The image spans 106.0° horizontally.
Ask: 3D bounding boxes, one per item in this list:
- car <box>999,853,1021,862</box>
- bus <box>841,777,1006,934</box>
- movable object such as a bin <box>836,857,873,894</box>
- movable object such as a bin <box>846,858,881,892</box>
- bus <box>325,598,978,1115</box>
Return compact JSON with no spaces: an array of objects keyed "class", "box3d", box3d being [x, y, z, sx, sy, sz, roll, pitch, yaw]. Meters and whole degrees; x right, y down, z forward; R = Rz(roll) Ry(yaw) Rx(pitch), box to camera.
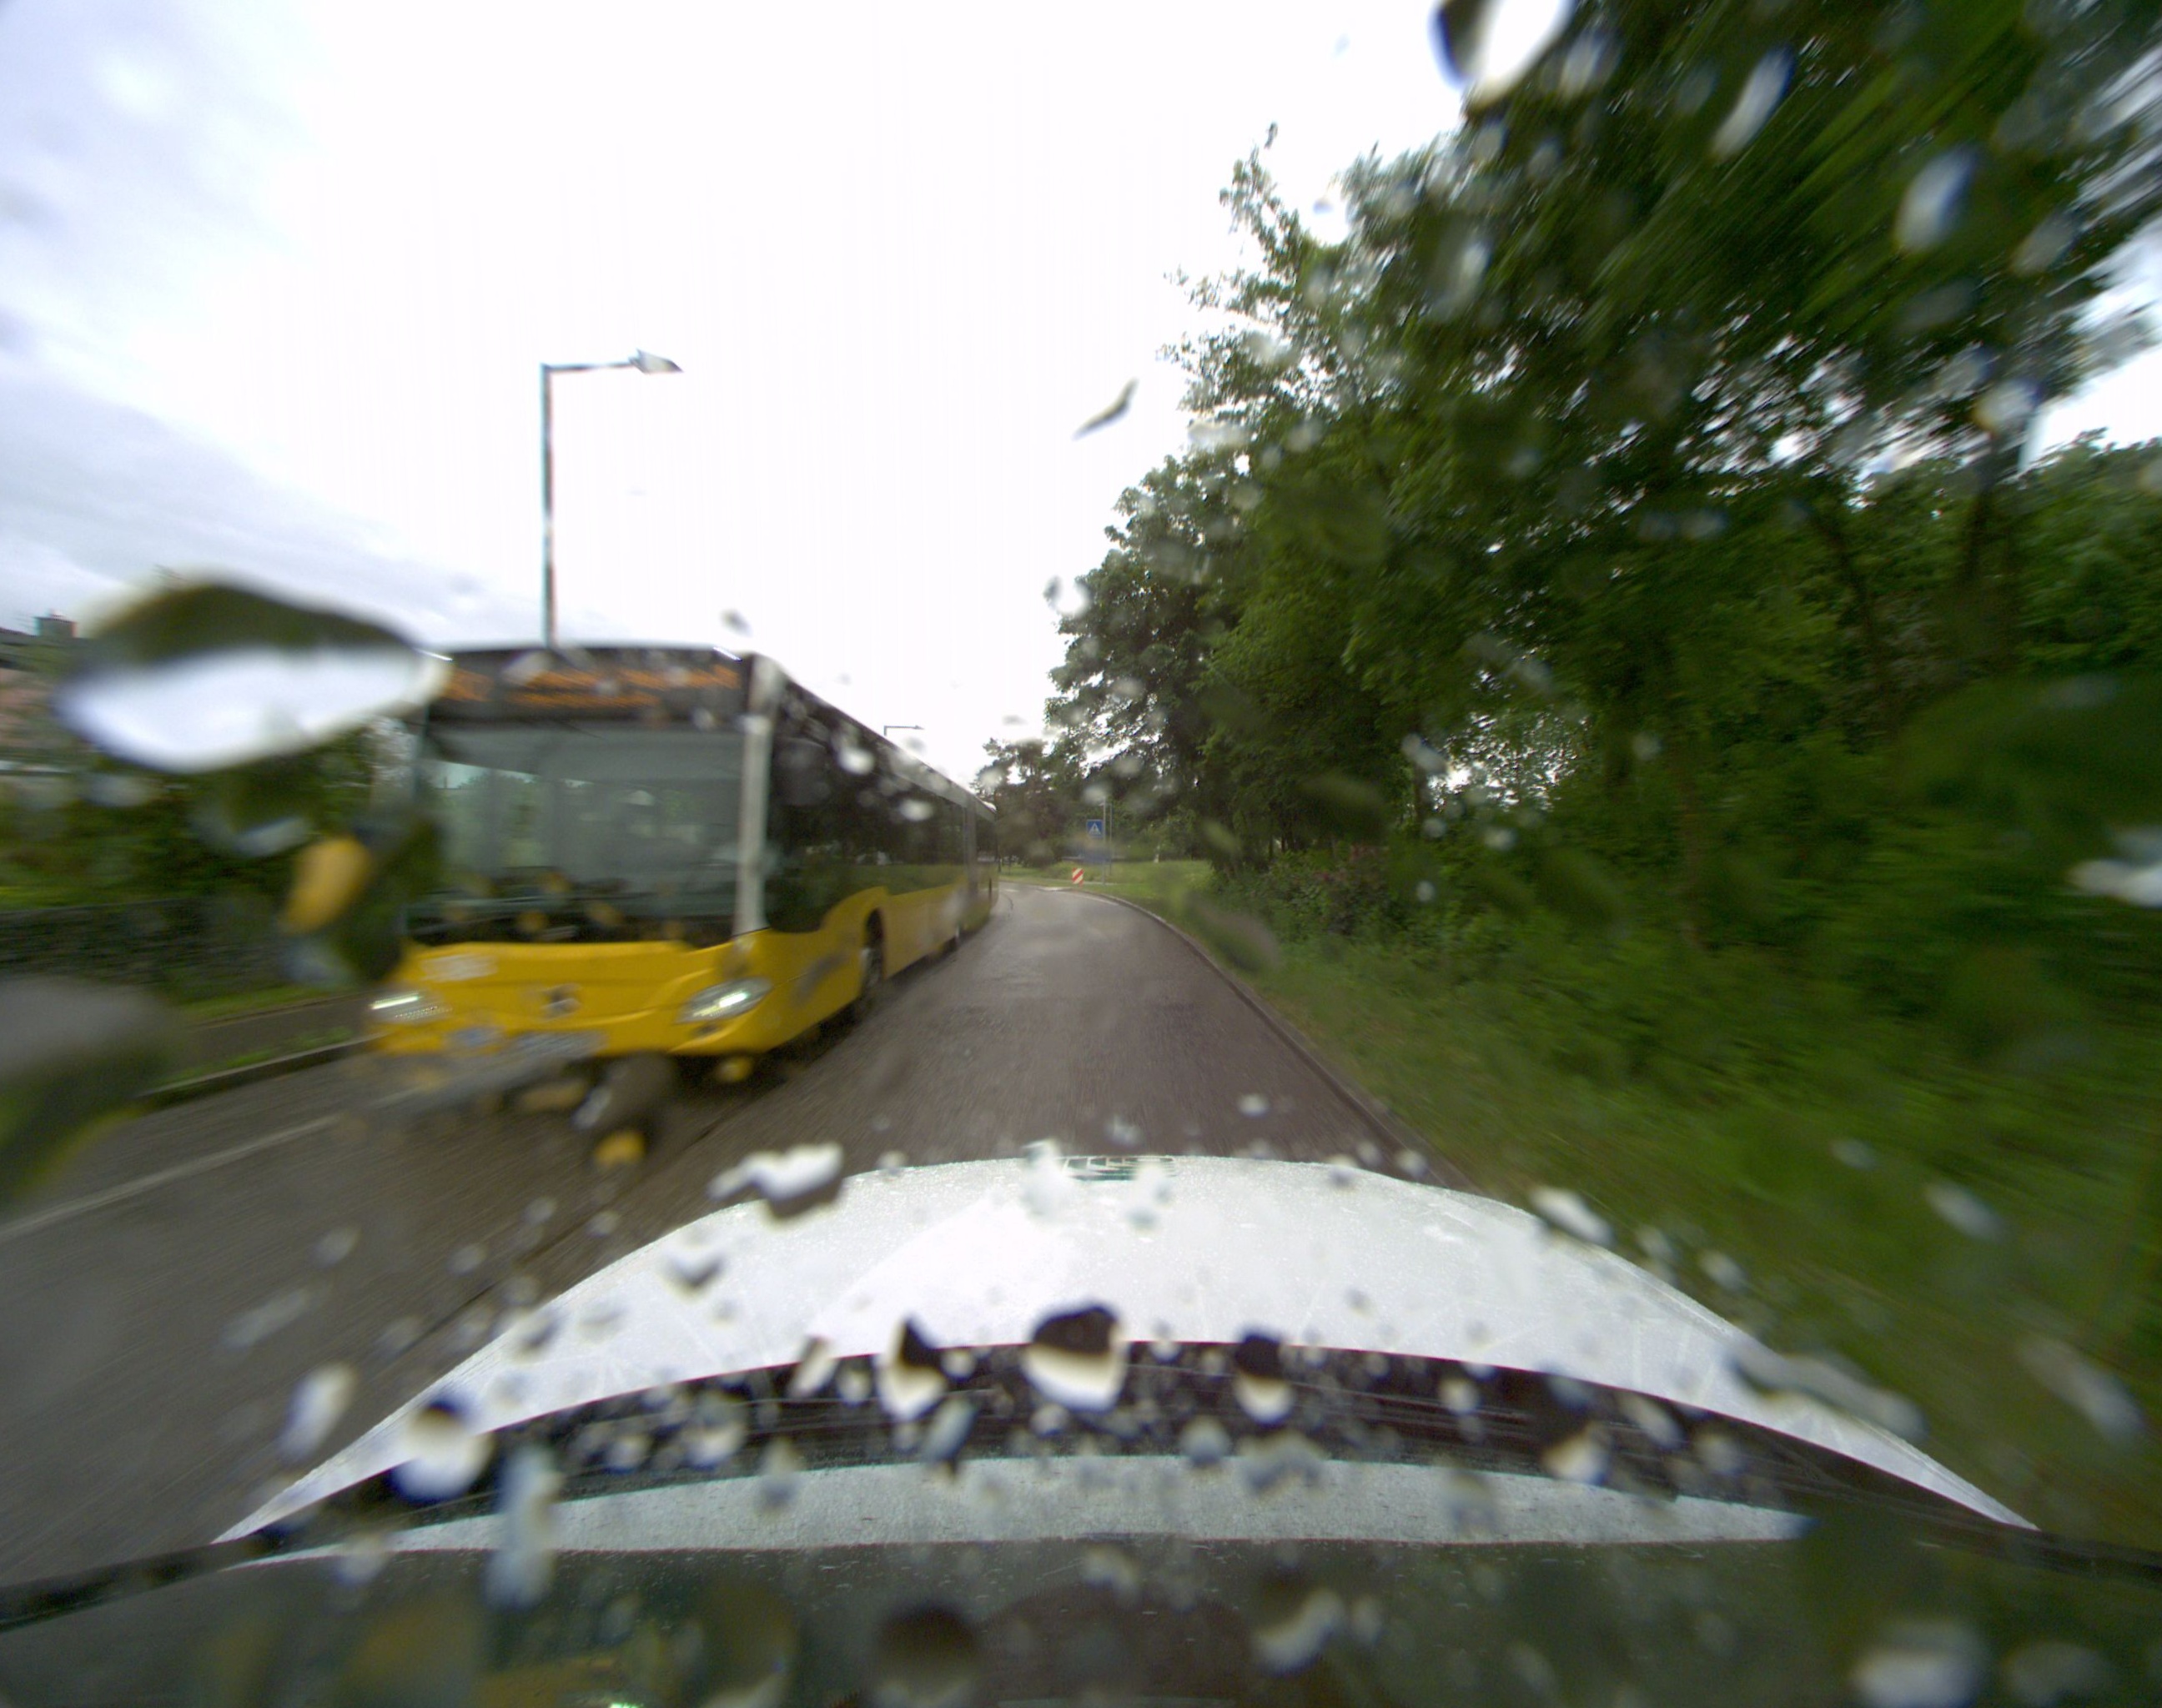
[{"class":"car","box3d":[-15.711,0.821,179.627,4.501,1.750,1.924,-4,0,26]},{"class":"bus","box3d":[-3.406,0.053,19.613,2.632,3.032,7.661,0,0,-1]},{"class":"movable object such as a bin","box3d":[-8.573,0.799,30.867,1.131,1.339,1.394,3,-1,-9]},{"class":"movable object such as a bin","box3d":[-8.691,0.834,32.566,1.131,1.301,1.394,3,-1,-9]},{"class":"bus","box3d":[-3.264,0.030,10.327,2.632,3.067,10.850,-1,0,-1]}]
